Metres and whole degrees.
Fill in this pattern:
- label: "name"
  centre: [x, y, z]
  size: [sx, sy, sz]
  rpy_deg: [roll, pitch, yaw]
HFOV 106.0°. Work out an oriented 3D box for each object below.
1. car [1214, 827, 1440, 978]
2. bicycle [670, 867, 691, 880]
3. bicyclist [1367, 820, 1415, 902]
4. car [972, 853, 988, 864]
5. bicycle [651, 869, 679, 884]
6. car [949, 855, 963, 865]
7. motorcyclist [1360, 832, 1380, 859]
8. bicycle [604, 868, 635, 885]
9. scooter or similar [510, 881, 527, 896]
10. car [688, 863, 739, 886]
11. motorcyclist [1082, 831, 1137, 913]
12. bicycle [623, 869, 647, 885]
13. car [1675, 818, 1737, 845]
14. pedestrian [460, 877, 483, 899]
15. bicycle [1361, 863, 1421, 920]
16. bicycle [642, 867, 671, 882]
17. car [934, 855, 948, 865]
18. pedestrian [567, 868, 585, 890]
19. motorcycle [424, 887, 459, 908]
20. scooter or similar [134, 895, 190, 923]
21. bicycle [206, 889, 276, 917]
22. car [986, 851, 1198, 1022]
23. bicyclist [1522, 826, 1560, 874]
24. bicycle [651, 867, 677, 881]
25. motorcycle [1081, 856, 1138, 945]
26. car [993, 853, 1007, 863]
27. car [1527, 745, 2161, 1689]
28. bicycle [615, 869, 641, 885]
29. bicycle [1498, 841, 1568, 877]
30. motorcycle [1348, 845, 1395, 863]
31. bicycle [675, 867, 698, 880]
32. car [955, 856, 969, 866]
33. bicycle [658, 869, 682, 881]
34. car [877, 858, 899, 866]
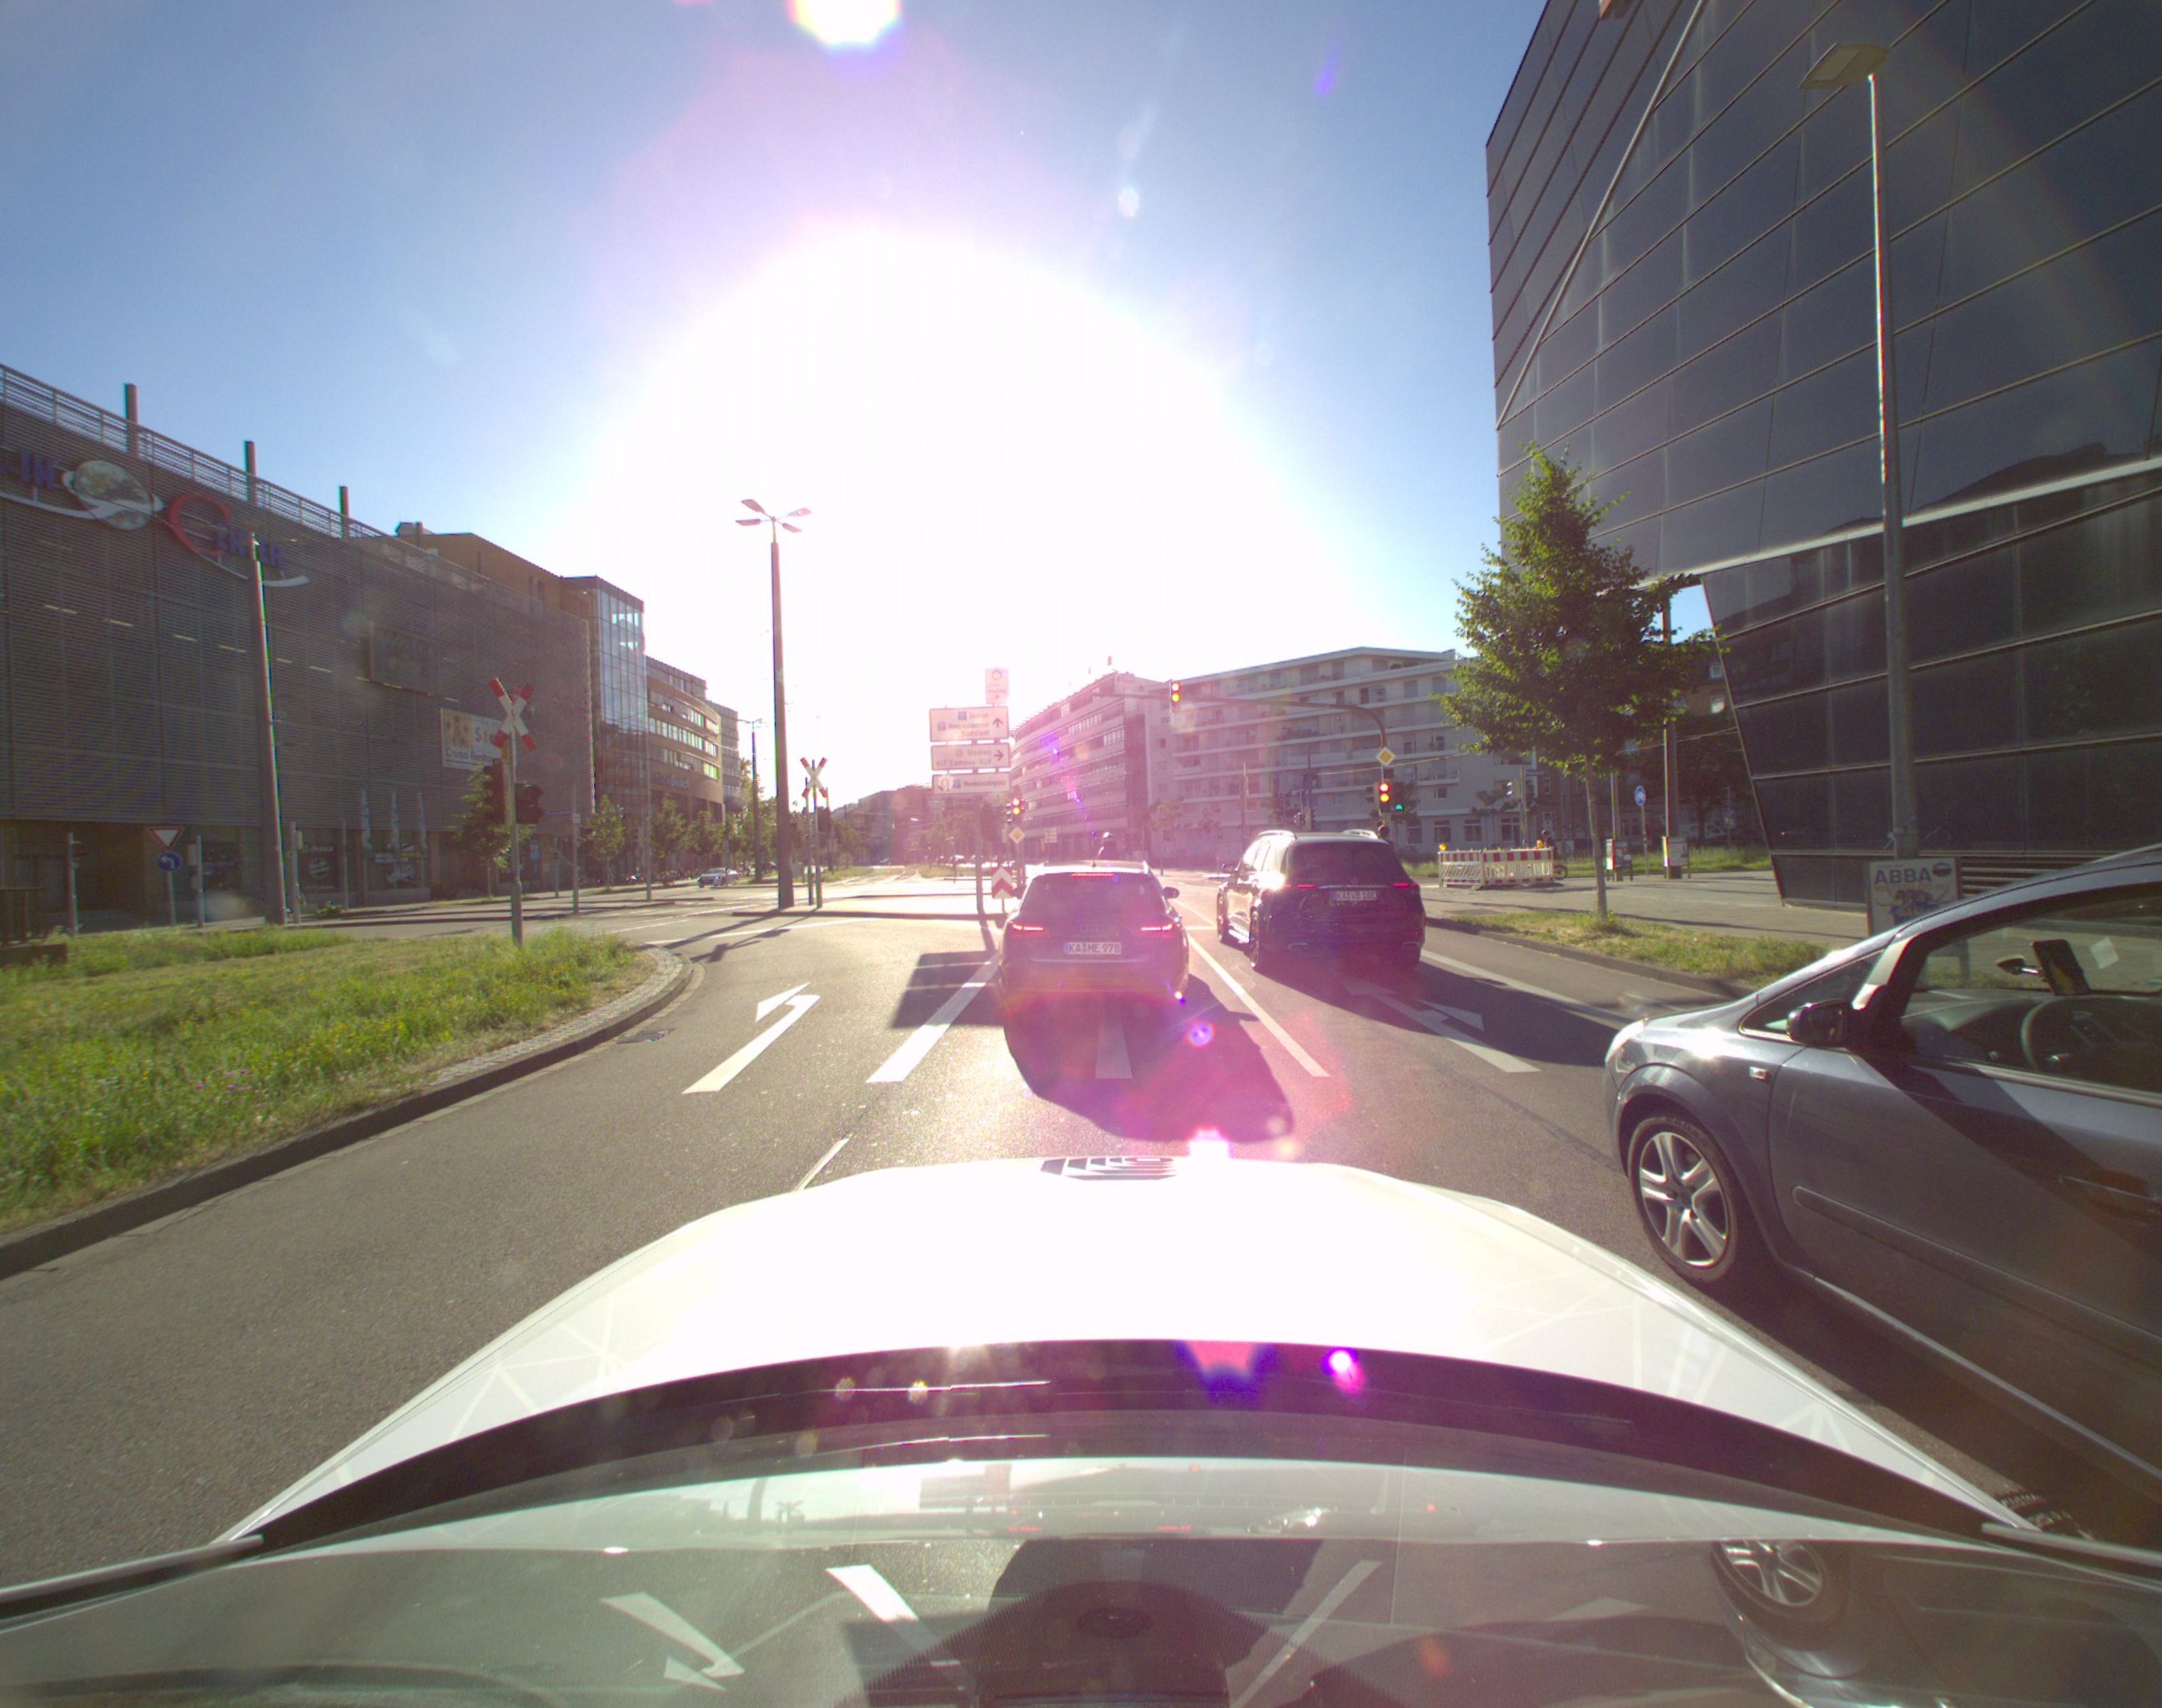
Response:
- label: "car"
  centre: [3.181, 0.536, 11.529]
  size: [1.995, 1.715, 4.374]
  rpy_deg: [0, 0, 2]
- label: "bicycle"
  centre: [-47.379, 2.321, 96.372]
  size: [2.125, 1.433, 0.761]
  rpy_deg: [-3, -1, 10]
- label: "bicyclist"
  centre: [6.437, 0.138, 16.954]
  size: [0.651, 1.642, 0.973]
  rpy_deg: [-2, 0, 5]
- label: "car"
  centre: [-17.222, 0.753, 138.700]
  size: [1.998, 1.596, 3.977]
  rpy_deg: [-3, -1, -17]
- label: "bicycle"
  centre: [-43.720, 2.380, 85.527]
  size: [2.546, 1.433, 0.907]
  rpy_deg: [-3, -1, 10]
- label: "car"
  centre: [-22.607, 1.134, 147.208]
  size: [1.998, 1.706, 3.977]
  rpy_deg: [-3, -1, -16]
- label: "motorcyclist"
  centre: [16.995, -0.498, 47.885]
  size: [0.918, 1.481, 1.176]
  rpy_deg: [-2, 0, 12]
- label: "bicycle"
  centre: [-43.808, 2.139, 77.310]
  size: [2.355, 1.433, 1.079]
  rpy_deg: [-3, -1, 10]
- label: "scooter or similar"
  centre: [-42.889, 2.619, 62.124]
  size: [0.419, 1.110, 1.153]
  rpy_deg: [-3, -1, 2]
- label: "car"
  centre: [-27.812, 1.551, 61.816]
  size: [1.989, 1.545, 4.524]
  rpy_deg: [-2, 0, -3]
- label: "motorcyclist"
  centre: [0.486, 0.297, 13.870]
  size: [0.859, 1.326, 0.681]
  rpy_deg: [-2, 0, 1]
- label: "bicycle"
  centre: [-43.527, 2.271, 79.486]
  size: [1.965, 1.433, 0.809]
  rpy_deg: [-3, -1, 10]
- label: "car"
  centre: [58.858, -2.091, 76.776]
  size: [4.543, 2.310, 2.013]
  rpy_deg: [-2, 0, 38]
- label: "pedestrian"
  centre: [-44.202, 2.476, 59.099]
  size: [0.984, 1.566, 0.829]
  rpy_deg: [-3, -1, 1]
- label: "bicycle"
  centre: [6.418, 0.753, 16.958]
  size: [0.651, 1.043, 1.932]
  rpy_deg: [-2, 1, 5]
- label: "bicycle"
  centre: [-43.394, 2.104, 83.271]
  size: [2.546, 1.433, 0.907]
  rpy_deg: [-3, -1, 10]
- label: "car"
  centre: [-25.181, 1.068, 146.484]
  size: [1.998, 1.706, 3.977]
  rpy_deg: [-3, -1, -16]
- label: "pedestrian"
  centre: [-42.283, 2.097, 68.144]
  size: [0.823, 1.824, 0.905]
  rpy_deg: [-3, -1, 3]
- label: "motorcycle"
  centre: [-41.722, 2.845, 53.143]
  size: [0.673, 1.238, 1.894]
  rpy_deg: [-3, -1, 1]
- label: "scooter or similar"
  centre: [-43.676, 2.617, 38.729]
  size: [0.790, 1.207, 1.575]
  rpy_deg: [-3, -1, 2]
- label: "bicycle"
  centre: [-41.788, 2.422, 40.558]
  size: [0.796, 1.220, 2.418]
  rpy_deg: [-2, 0, 5]
- label: "car"
  centre: [0.145, 0.715, 9.081]
  size: [1.835, 1.454, 4.001]
  rpy_deg: [0, 0, 1]
- label: "bicyclist"
  centre: [16.665, -0.141, 29.503]
  size: [0.772, 1.706, 0.919]
  rpy_deg: [-2, 0, -39]
- label: "bicycle"
  centre: [-47.095, 2.227, 92.047]
  size: [2.591, 1.433, 0.773]
  rpy_deg: [-3, -1, 10]
- label: "motorcycle"
  centre: [0.482, 0.743, 13.920]
  size: [0.859, 1.393, 1.894]
  rpy_deg: [-2, 0, 2]
- label: "car"
  centre: [-15.058, 0.766, 151.309]
  size: [1.996, 1.838, 3.981]
  rpy_deg: [-3, -1, -13]
- label: "car"
  centre: [2.814, 0.653, 1.534]
  size: [1.739, 1.696, 4.262]
  rpy_deg: [0, 0, 2]
- label: "bicycle"
  centre: [-43.606, 2.233, 78.378]
  size: [2.070, 1.433, 0.863]
  rpy_deg: [-3, -1, 10]
- label: "bicycle"
  centre: [16.490, 0.194, 29.740]
  size: [0.772, 1.262, 2.057]
  rpy_deg: [-2, 0, -39]
- label: "motorcycle"
  centre: [17.061, -0.010, 47.886]
  size: [2.436, 1.000, 1.175]
  rpy_deg: [-2, 0, 12]
- label: "bicycle"
  centre: [-47.211, 2.381, 97.543]
  size: [2.405, 1.433, 0.791]
  rpy_deg: [-3, -1, 10]
- label: "car"
  centre: [-20.703, 1.194, 141.147]
  size: [1.996, 1.596, 3.981]
  rpy_deg: [-3, -1, -13]
- label: "bicycle"
  centre: [-47.207, 2.384, 93.477]
  size: [2.399, 1.236, 0.747]
  rpy_deg: [-3, -1, 10]
- label: "car"
  centre: [-43.330, 1.709, 182.818]
  size: [4.420, 1.640, 1.983]
  rpy_deg: [-2, 0, -26]
